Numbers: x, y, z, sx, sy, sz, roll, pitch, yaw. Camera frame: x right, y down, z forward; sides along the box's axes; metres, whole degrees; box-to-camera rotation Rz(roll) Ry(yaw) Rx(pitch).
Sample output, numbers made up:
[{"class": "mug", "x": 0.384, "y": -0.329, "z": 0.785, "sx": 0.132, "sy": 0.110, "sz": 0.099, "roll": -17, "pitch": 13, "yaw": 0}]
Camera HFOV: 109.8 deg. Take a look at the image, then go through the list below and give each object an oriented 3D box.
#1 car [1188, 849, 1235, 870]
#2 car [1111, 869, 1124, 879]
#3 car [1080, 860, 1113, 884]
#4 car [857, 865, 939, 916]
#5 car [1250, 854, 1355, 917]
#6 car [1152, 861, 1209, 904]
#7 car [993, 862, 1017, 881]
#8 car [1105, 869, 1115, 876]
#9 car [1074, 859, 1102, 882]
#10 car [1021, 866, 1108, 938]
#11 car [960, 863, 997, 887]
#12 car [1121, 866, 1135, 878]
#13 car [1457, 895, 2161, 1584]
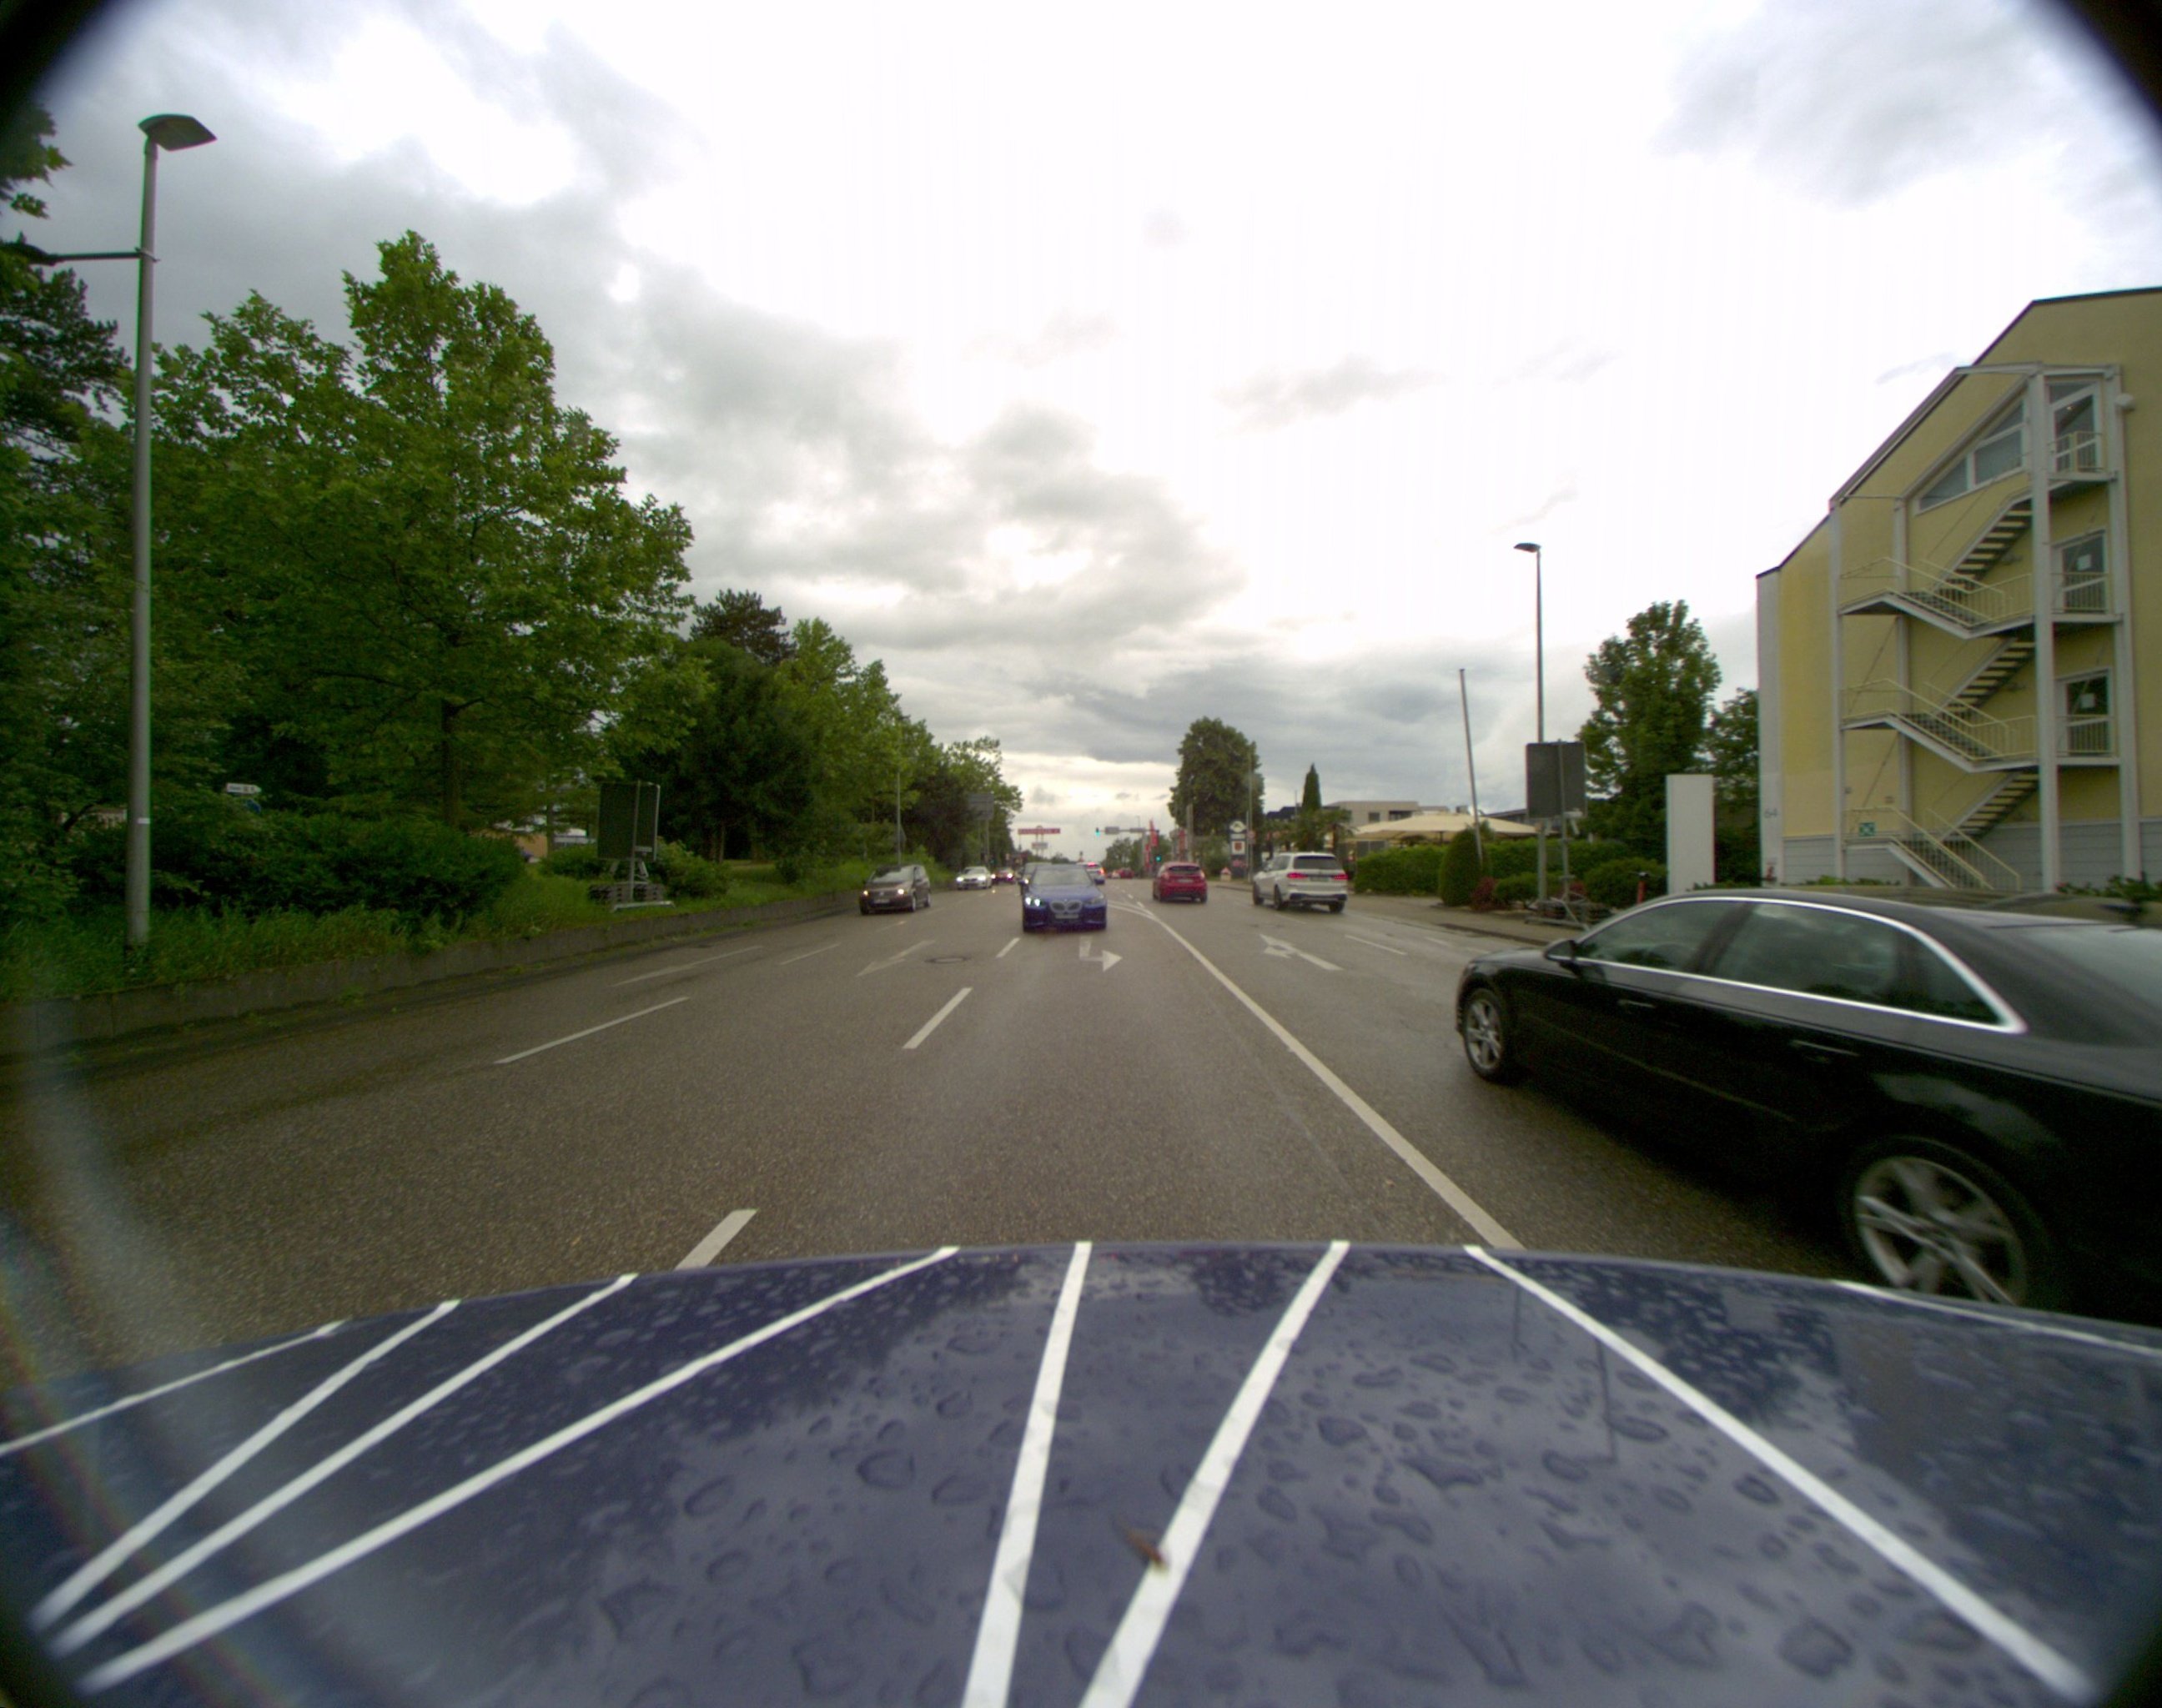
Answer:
[{"class": "car", "x": 13.192, "y": 0.600, "z": 76.783, "sx": 4.407, "sy": 2.001, "sz": 1.996, "roll": 2, "pitch": -2, "yaw": -27}, {"class": "car", "x": 5.815, "y": 3.091, "z": 119.827, "sx": 1.640, "sy": 1.468, "sz": 4.047, "roll": 0, "pitch": -1, "yaw": 8}, {"class": "car", "x": 0.999, "y": 1.199, "z": 51.974, "sx": 1.755, "sy": 1.499, "sz": 4.300, "roll": 0, "pitch": 0, "yaw": -5}, {"class": "car", "x": -6.217, "y": 1.214, "z": 26.221, "sx": 1.751, "sy": 1.599, "sz": 3.982, "roll": -2, "pitch": -1, "yaw": 1}, {"class": "car", "x": 6.980, "y": 0.920, "z": 24.567, "sx": 1.922, "sy": 1.752, "sz": 5.143, "roll": 2, "pitch": 0, "yaw": 1}, {"class": "car", "x": 3.624, "y": 0.992, "z": 28.203, "sx": 1.685, "sy": 1.411, "sz": 3.841, "roll": 1, "pitch": 0, "yaw": 1}, {"class": "car", "x": -6.105, "y": 1.450, "z": 61.492, "sx": 1.634, "sy": 1.448, "sz": 3.539, "roll": -2, "pitch": -1, "yaw": -1}, {"class": "car", "x": 5.349, "y": 3.382, "z": 138.658, "sx": 1.627, "sy": 1.324, "sz": 3.947, "roll": 1, "pitch": -2, "yaw": 0}, {"class": "car", "x": 0.472, "y": 1.194, "z": 56.447, "sx": 1.792, "sy": 1.571, "sz": 4.238, "roll": -1, "pitch": 0, "yaw": -4}, {"class": "car", "x": -0.374, "y": 1.070, "z": 18.228, "sx": 1.784, "sy": 1.448, "sz": 4.598, "roll": -2, "pitch": -1, "yaw": -1}, {"class": "car", "x": -6.593, "y": 1.349, "z": 49.249, "sx": 1.784, "sy": 1.448, "sz": 4.681, "roll": -2, "pitch": -1, "yaw": -1}, {"class": "car", "x": 6.310, "y": 2.388, "z": 102.553, "sx": 1.641, "sy": 1.524, "sz": 3.972, "roll": 1, "pitch": -1, "yaw": 0}, {"class": "car", "x": 3.546, "y": 1.001, "z": 3.280, "sx": 1.897, "sy": 1.396, "sz": 4.265, "roll": 0, "pitch": 0, "yaw": 3}]
